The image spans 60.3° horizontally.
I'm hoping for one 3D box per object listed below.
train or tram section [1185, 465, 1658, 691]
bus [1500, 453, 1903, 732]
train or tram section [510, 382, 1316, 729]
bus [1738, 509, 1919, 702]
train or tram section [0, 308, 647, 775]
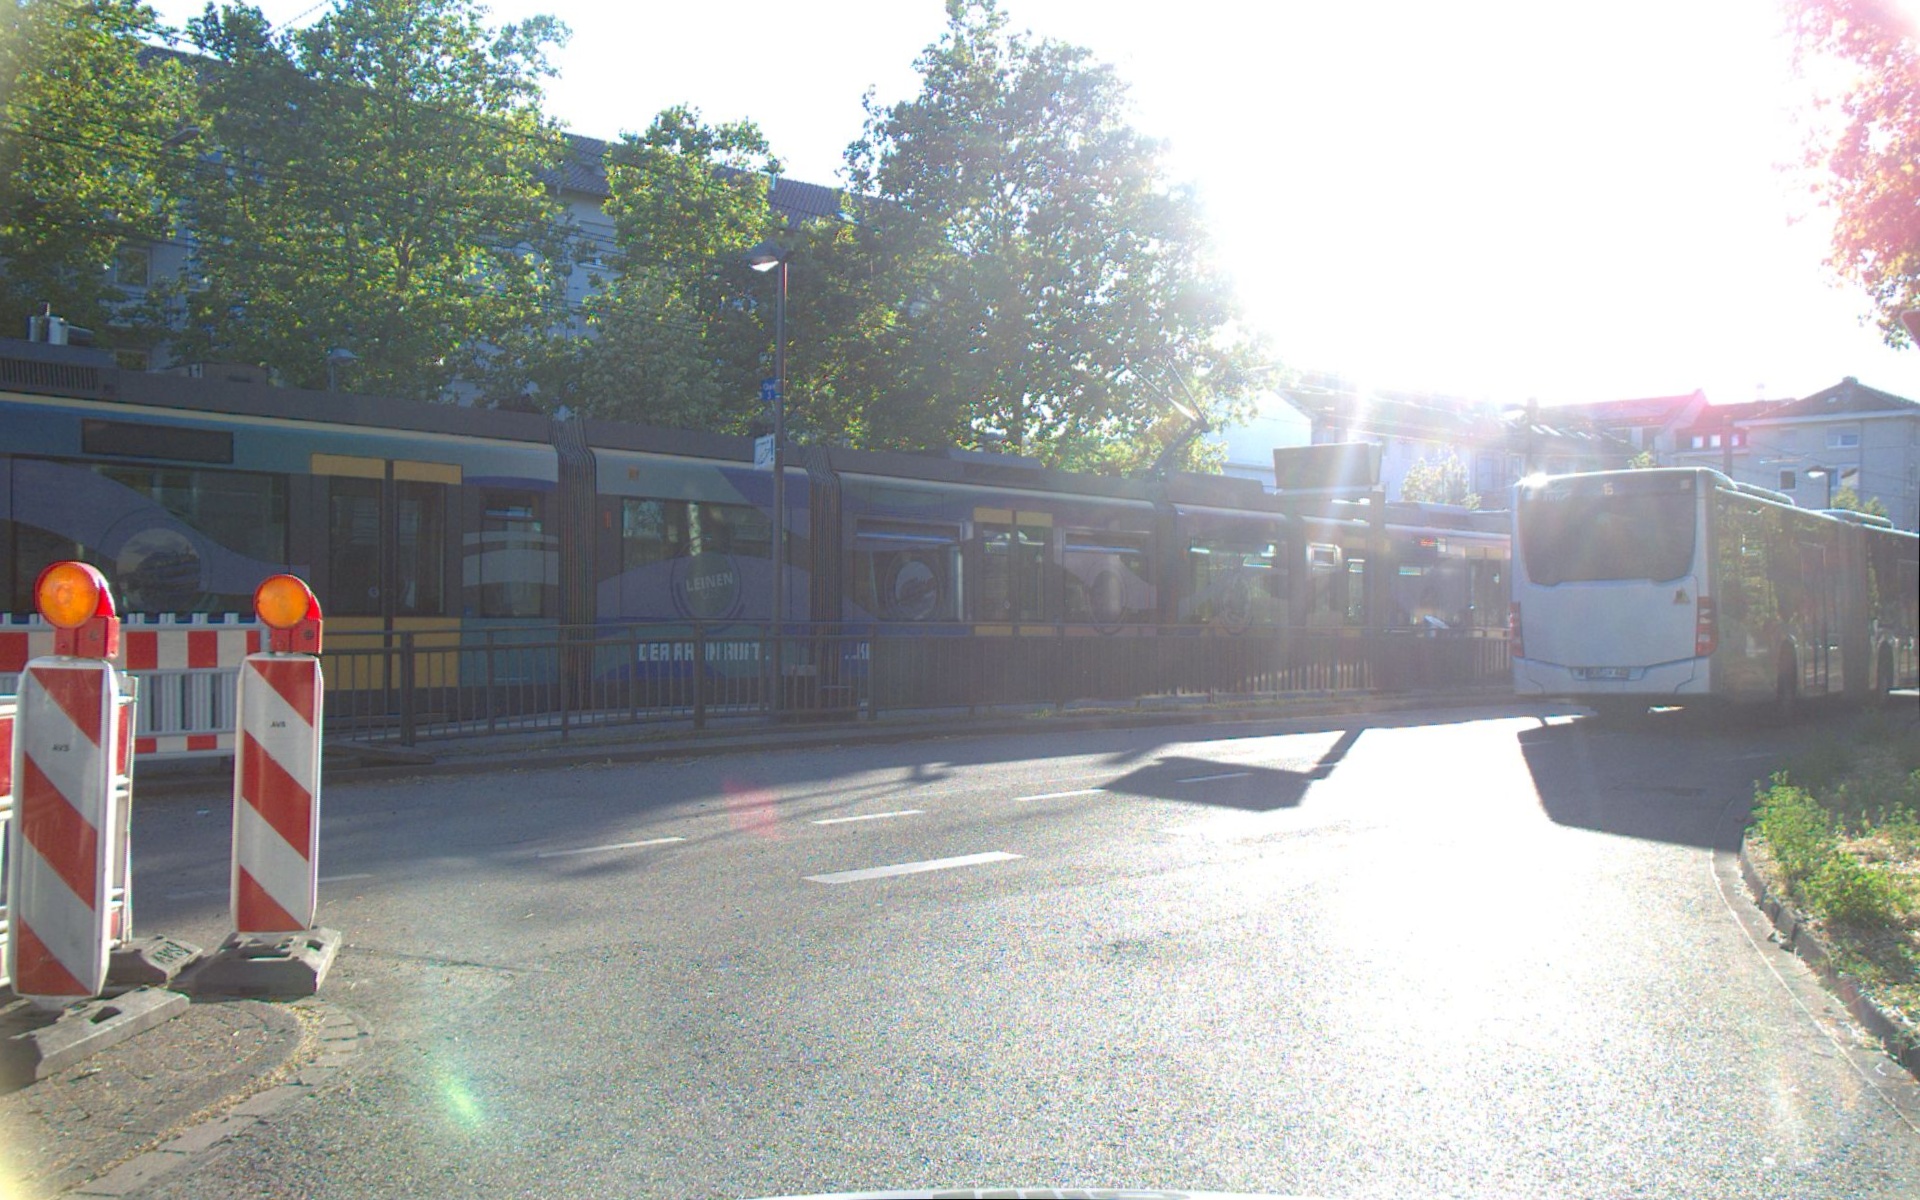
[{"bbox_3d":[9.396,-0.286,31.761,13.234,3.581,2.606,1,-1,-45],"label":"train or tram section"},{"bbox_3d":[11.132,-0.075,23.935,2.691,3.194,10.649,0,0,39],"label":"bus"},{"bbox_3d":[0.215,-0.408,22.678,12.689,3.611,2.693,1,-1,-45],"label":"train or tram section"},{"bbox_3d":[17.501,0.102,31.309,2.668,3.161,8.927,0,0,41],"label":"bus"},{"bbox_3d":[-8.774,-0.457,13.316,2.809,3.595,13.312,0,-1,42],"label":"train or tram section"}]
